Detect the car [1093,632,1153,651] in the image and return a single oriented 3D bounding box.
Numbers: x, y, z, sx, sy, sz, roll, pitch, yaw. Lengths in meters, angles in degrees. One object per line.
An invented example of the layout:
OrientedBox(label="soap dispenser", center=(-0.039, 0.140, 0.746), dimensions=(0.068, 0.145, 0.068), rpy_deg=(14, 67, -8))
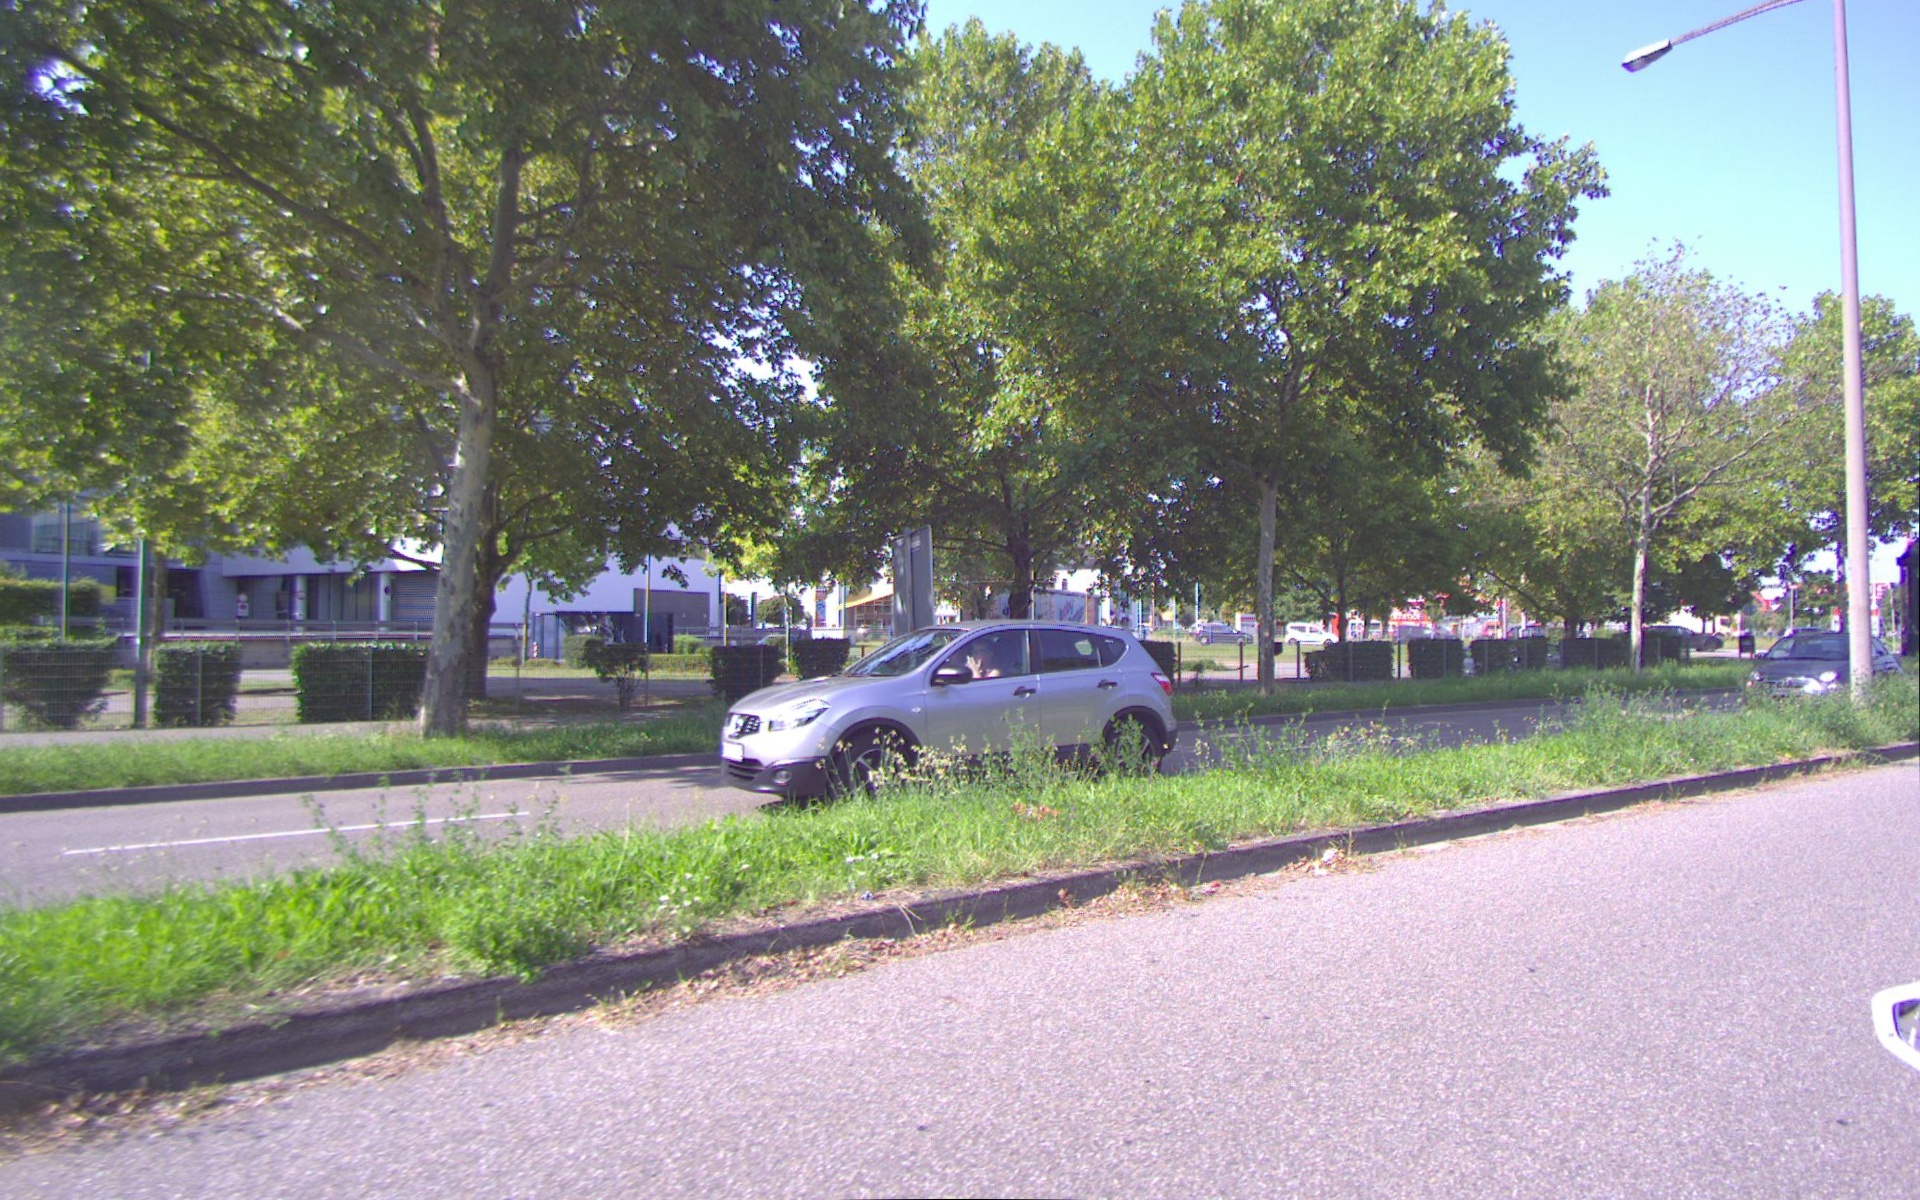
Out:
OrientedBox(label="car", center=(13.162, 3.353, 81.130), dimensions=(4.500, 1.565, 1.870), rpy_deg=(-1, -2, 20))

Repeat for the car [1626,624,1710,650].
OrientedBox(label="car", center=(46.226, 2.402, 65.651), dimensions=(4.227, 1.600, 1.572), rpy_deg=(0, -1, 22))

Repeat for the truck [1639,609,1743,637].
OrientedBox(label="truck", center=(82.474, 2.618, 113.569), dimensions=(8.842, 2.996, 3.513), rpy_deg=(-1, -2, 24))

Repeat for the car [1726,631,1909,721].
OrientedBox(label="car", center=(16.051, 1.363, 18.781), dimensions=(3.454, 1.506, 1.667), rpy_deg=(1, -1, -32))

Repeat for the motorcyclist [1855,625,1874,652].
OrientedBox(label="motorcyclist", center=(54.192, 2.284, 60.194), dimensions=(0.670, 1.593, 0.683), rpy_deg=(0, -1, 23))

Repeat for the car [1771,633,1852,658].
OrientedBox(label="car", center=(53.666, 2.880, 63.358), dimensions=(3.632, 1.462, 1.466), rpy_deg=(0, -1, 24))

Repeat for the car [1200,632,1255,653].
OrientedBox(label="car", center=(20.659, 3.254, 77.574), dimensions=(3.924, 1.565, 1.839), rpy_deg=(-1, -2, 24))

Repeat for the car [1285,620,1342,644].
OrientedBox(label="car", center=(26.175, 2.359, 74.370), dimensions=(3.923, 1.701, 1.870), rpy_deg=(0, -1, 23))

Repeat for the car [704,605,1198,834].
OrientedBox(label="car", center=(-0.018, 0.912, 8.989), dimensions=(4.062, 1.615, 1.870), rpy_deg=(1, -2, -32))

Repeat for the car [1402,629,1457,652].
OrientedBox(label="car", center=(33.131, 2.844, 70.961), dimensions=(3.425, 1.601, 1.726), rpy_deg=(-1, -2, 23))

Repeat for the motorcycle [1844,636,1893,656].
OrientedBox(label="motorcycle", center=(54.349, 2.748, 60.113), dimensions=(2.036, 1.151, 0.677), rpy_deg=(0, -1, 24))
